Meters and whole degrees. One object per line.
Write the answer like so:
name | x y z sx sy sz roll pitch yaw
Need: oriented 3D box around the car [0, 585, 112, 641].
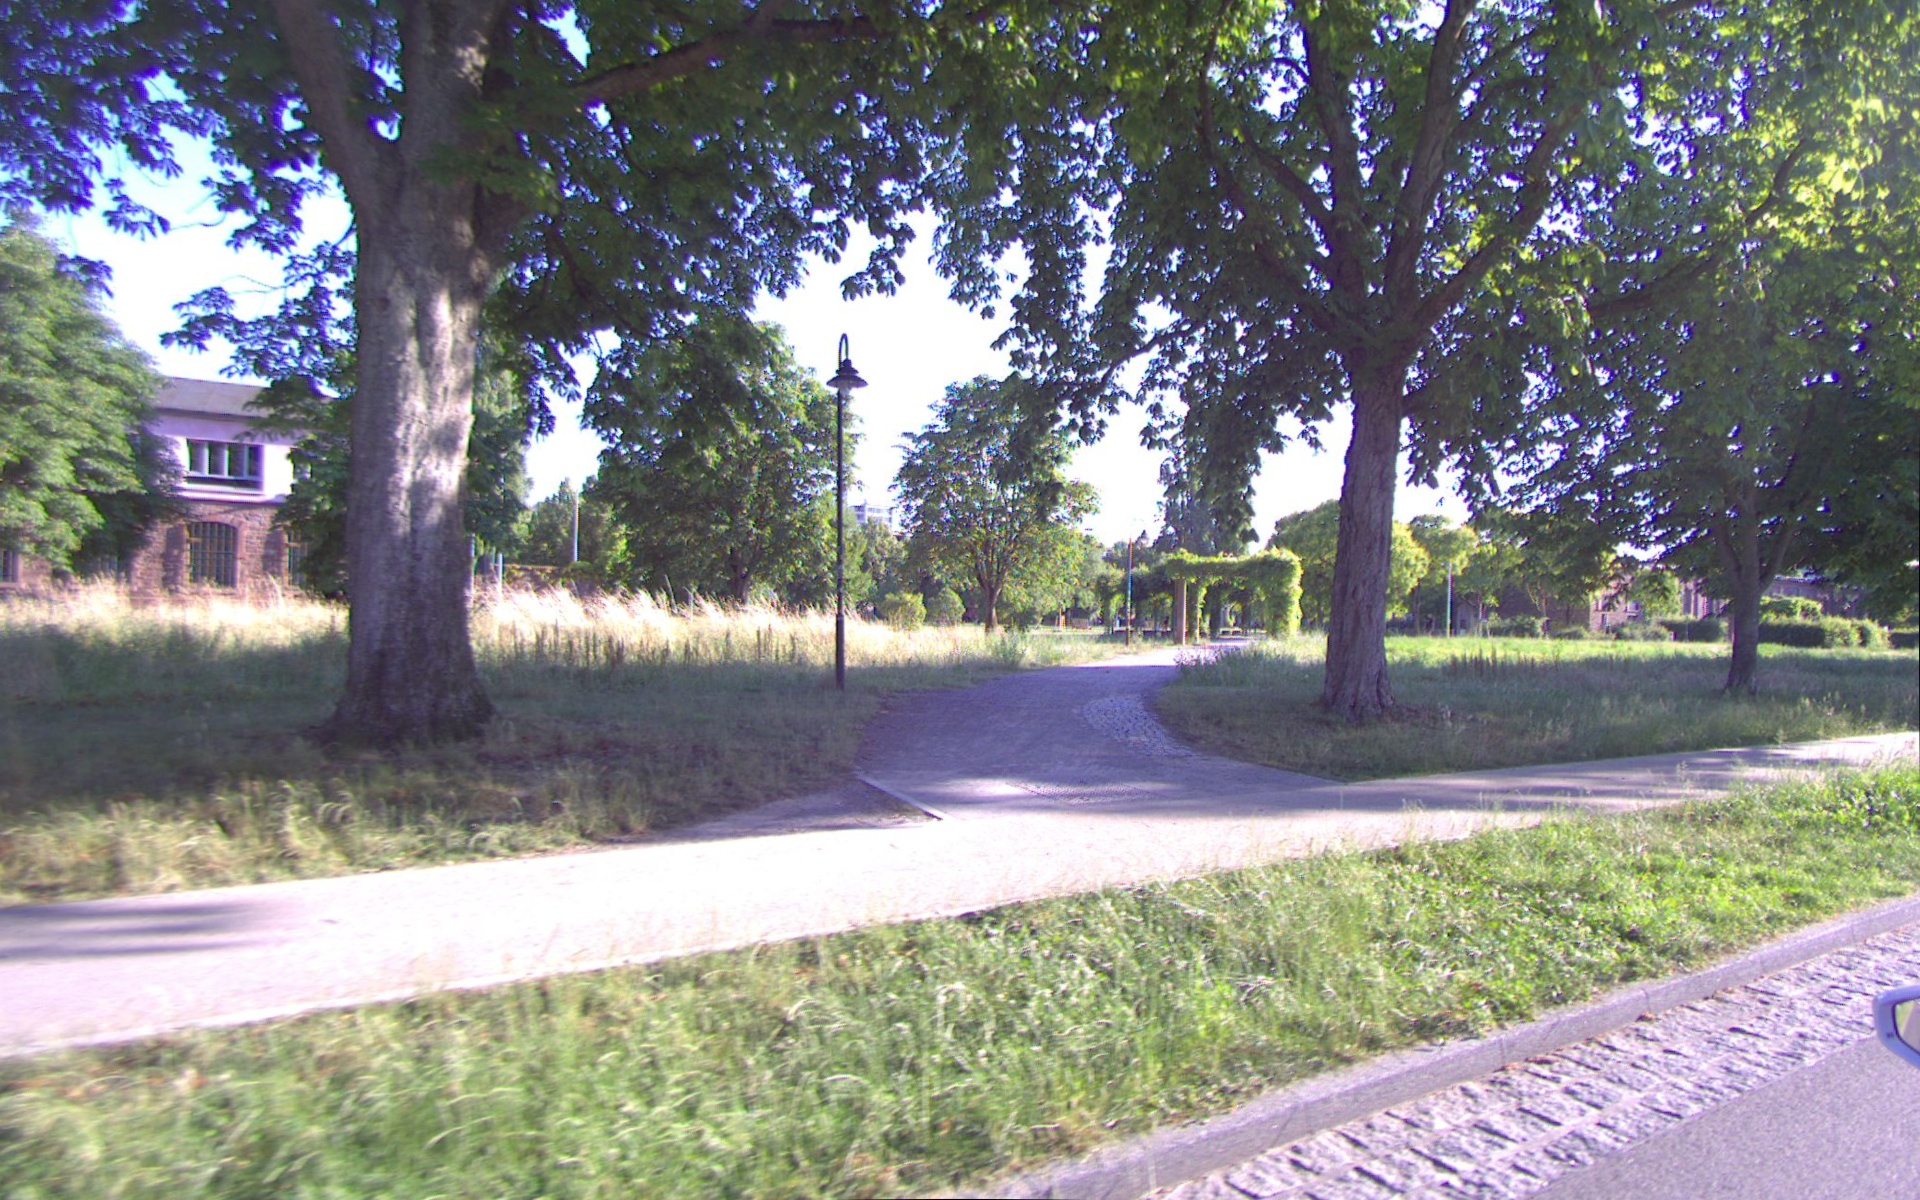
car | -29.116 0.393 31.189 3.953 1.650 1.753 2 0 -30

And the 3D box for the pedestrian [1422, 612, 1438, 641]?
pedestrian | 28.552 1.597 61.016 0.764 1.747 0.714 3 0 32

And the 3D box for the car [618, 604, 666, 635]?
car | -15.495 0.916 48.902 1.567 1.297 3.613 3 0 -28
